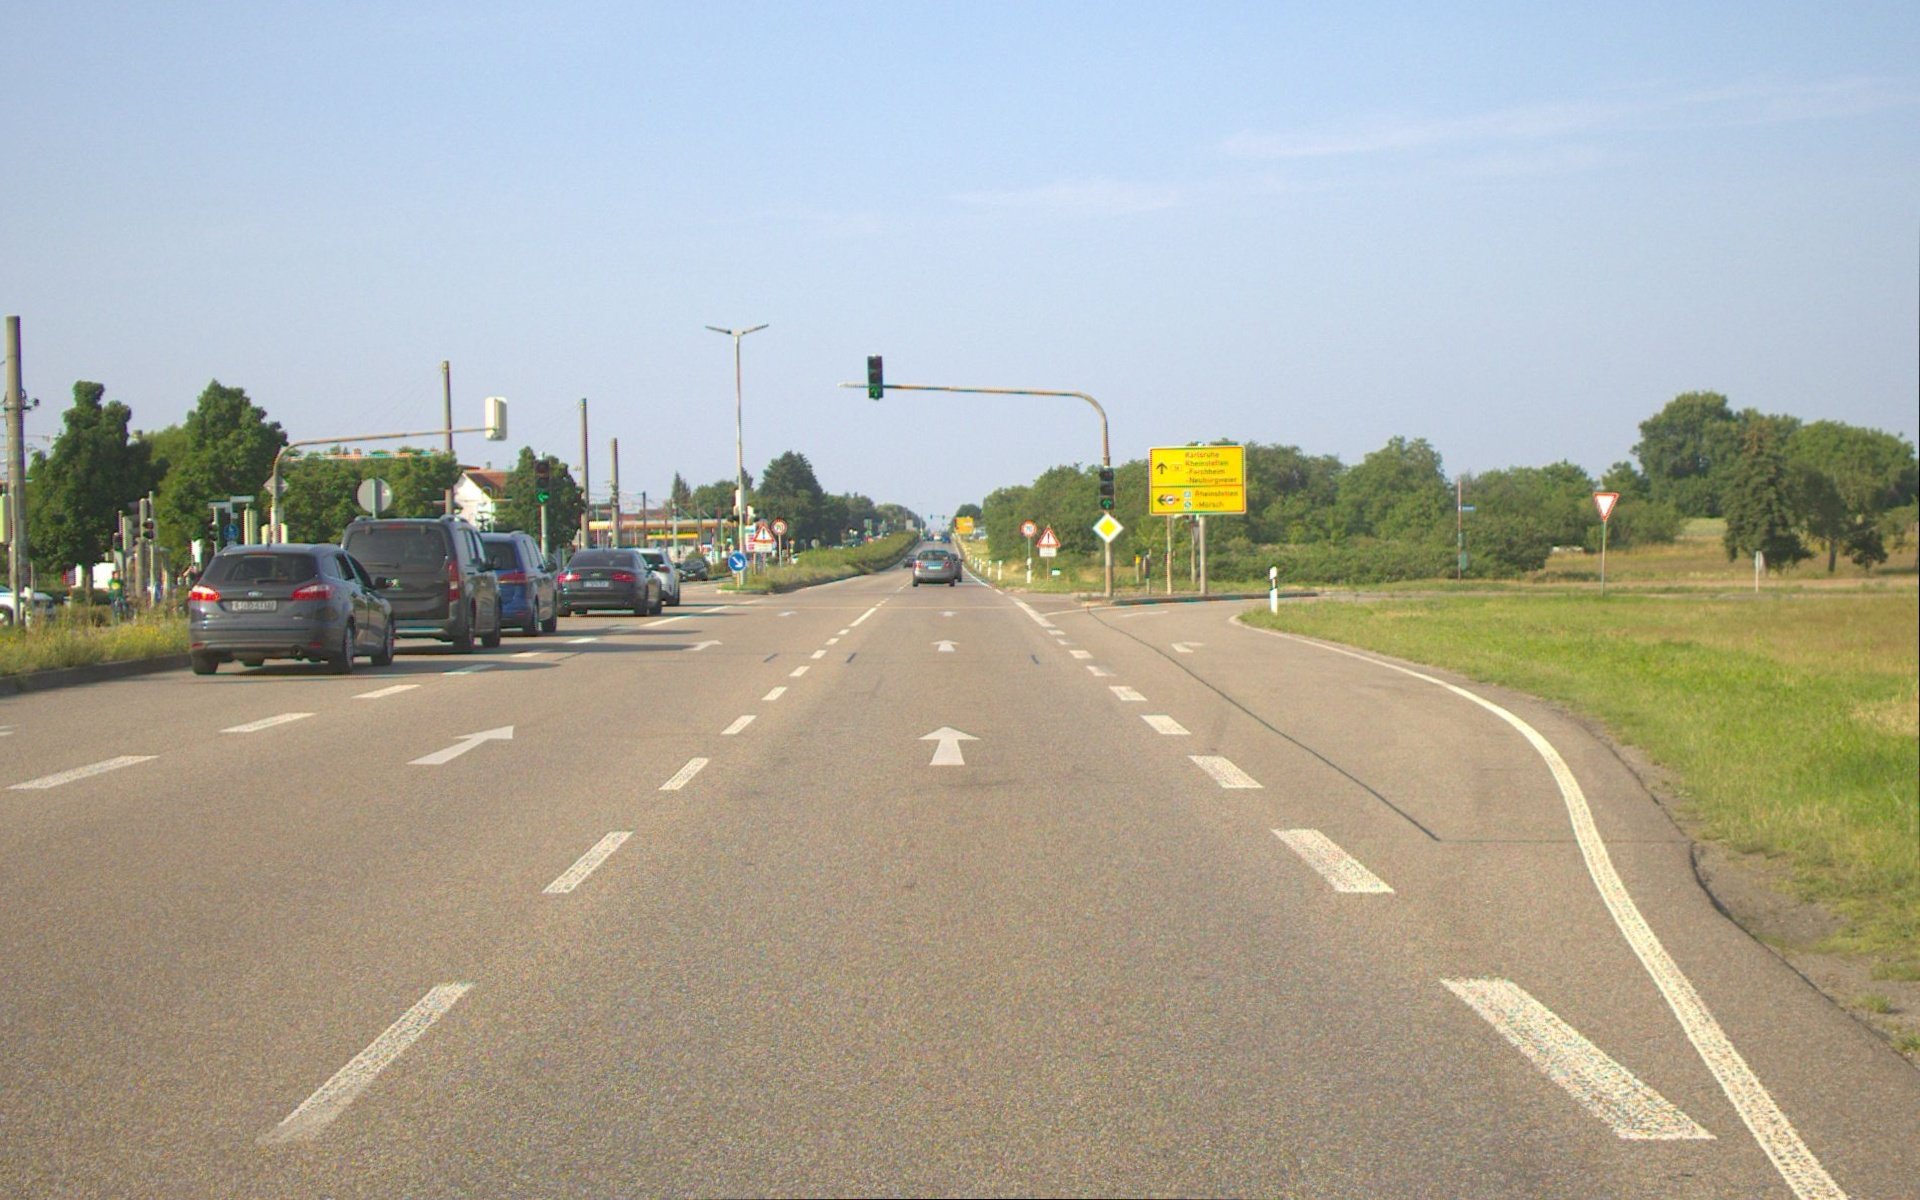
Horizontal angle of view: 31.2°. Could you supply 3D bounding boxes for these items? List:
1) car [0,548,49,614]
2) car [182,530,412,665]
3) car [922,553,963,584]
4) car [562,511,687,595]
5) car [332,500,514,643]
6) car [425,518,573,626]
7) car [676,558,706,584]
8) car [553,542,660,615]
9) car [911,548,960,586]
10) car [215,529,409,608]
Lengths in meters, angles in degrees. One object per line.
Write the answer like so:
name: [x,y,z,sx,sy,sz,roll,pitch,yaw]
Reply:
car: [-25.764,-0.512,88.595,3.989,1.656,1.886,1,0,12]
car: [-7.600,-0.071,39.802,1.732,1.451,4.520,-1,1,0]
car: [-0.883,-1.598,173.805,1.993,1.546,4.000,-1,1,0]
car: [-8.330,-1.174,85.040,1.828,2.007,4.001,-1,1,-25]
car: [-7.277,-0.415,46.980,1.732,1.849,4.520,-1,1,0]
car: [-7.495,-0.479,56.234,1.770,1.673,4.520,-1,1,0]
car: [-17.802,-1.926,227.670,1.688,1.656,3.758,-1,1,0]
car: [-7.379,-0.478,72.066,1.770,1.466,4.015,-1,1,0]
car: [-1.028,-1.408,144.279,1.993,1.546,4.000,-1,1,0]
car: [-17.264,-0.828,91.757,4.820,2.007,2.000,-1,-1,-2]
